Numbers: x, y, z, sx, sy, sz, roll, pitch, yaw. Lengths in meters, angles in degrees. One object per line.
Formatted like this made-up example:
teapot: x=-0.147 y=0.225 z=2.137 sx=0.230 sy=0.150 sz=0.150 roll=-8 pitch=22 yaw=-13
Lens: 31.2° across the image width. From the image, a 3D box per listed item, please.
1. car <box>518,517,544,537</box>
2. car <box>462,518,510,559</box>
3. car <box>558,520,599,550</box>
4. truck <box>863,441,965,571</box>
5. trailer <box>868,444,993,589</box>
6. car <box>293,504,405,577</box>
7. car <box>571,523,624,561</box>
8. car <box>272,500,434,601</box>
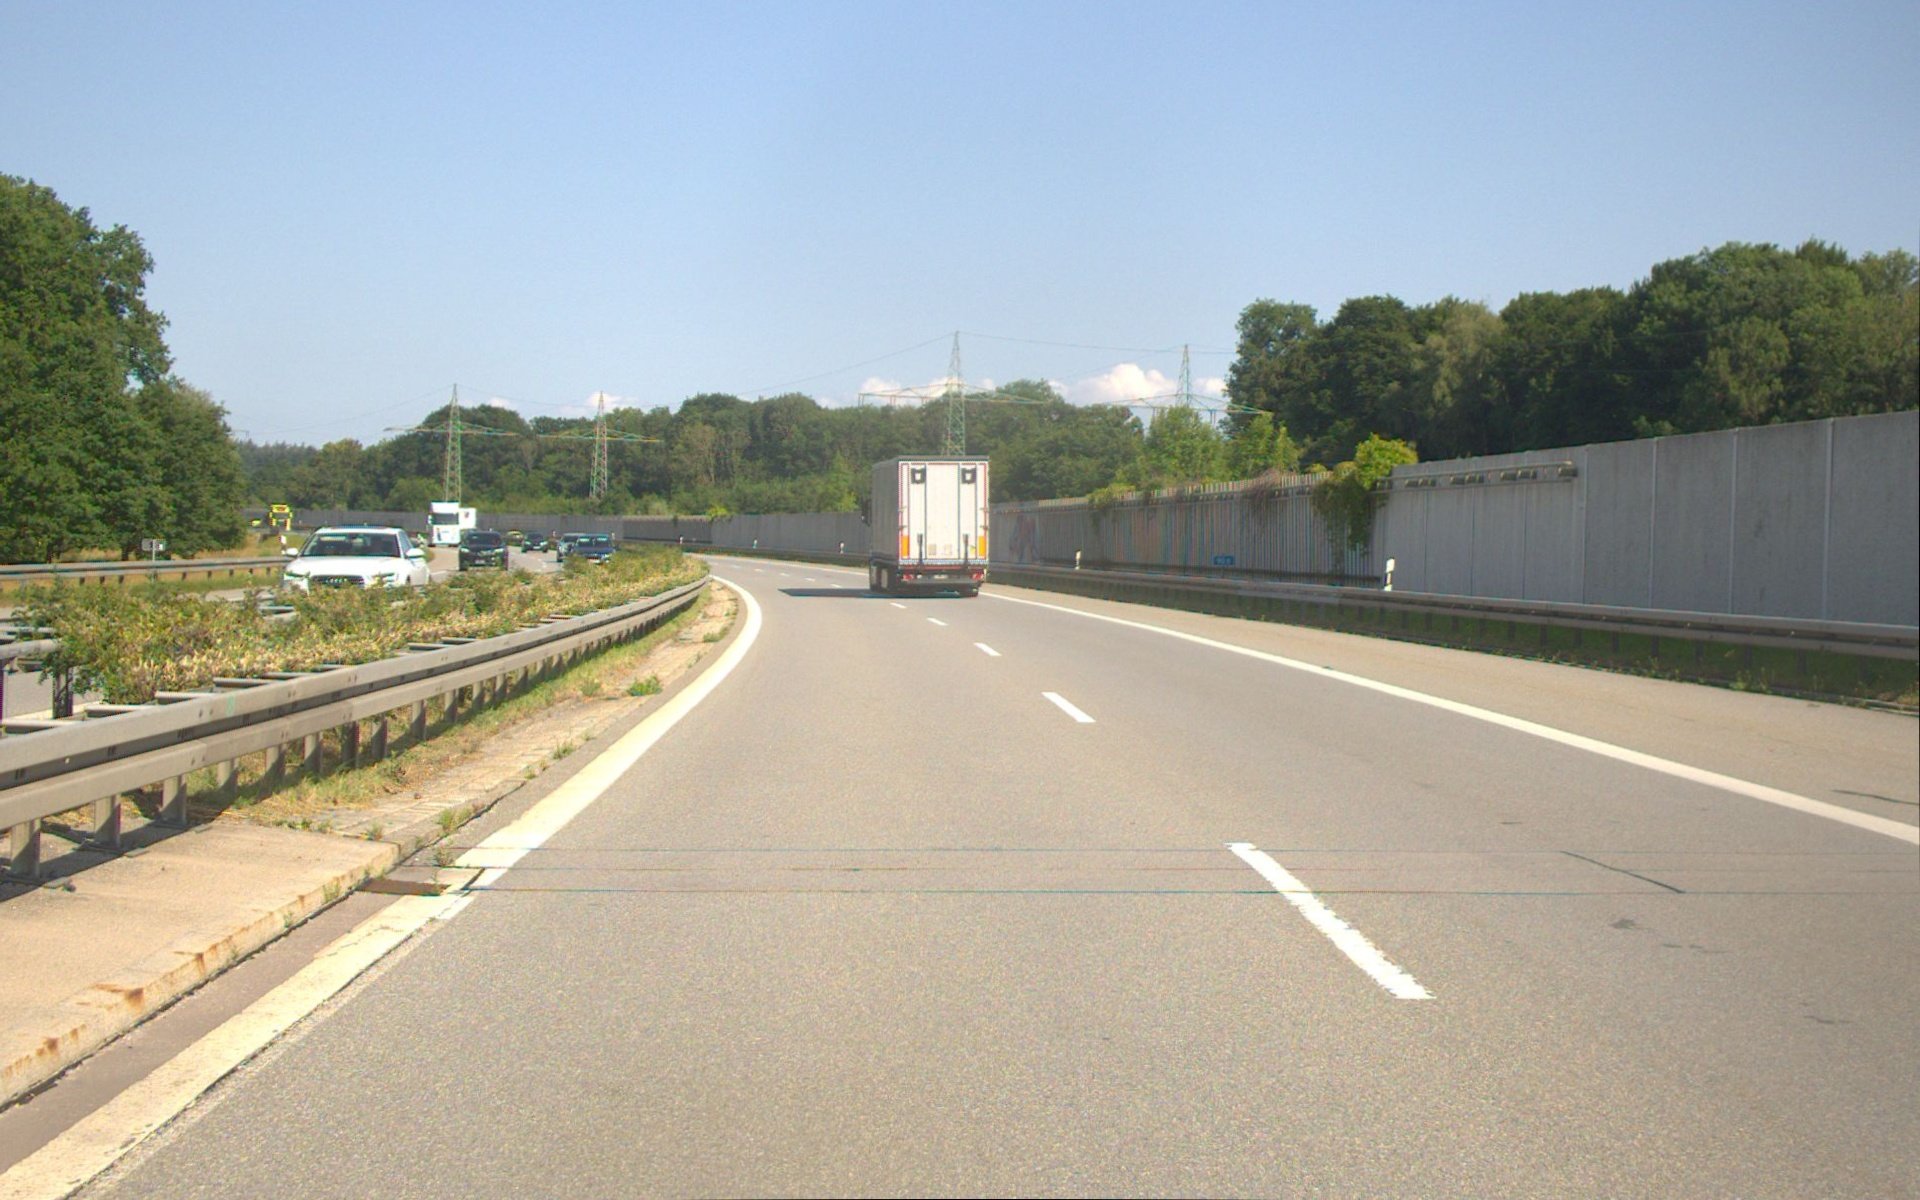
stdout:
car: x=-31.177 y=-5.298 z=249.854 sx=1.659 sy=1.445 sz=4.248 roll=-1 pitch=2 yaw=-10
car: x=-19.328 y=-2.510 z=140.282 sx=1.853 sy=1.628 sz=4.494 roll=0 pitch=1 yaw=-7
car: x=-19.702 y=-3.386 z=177.816 sx=1.931 sy=1.500 sz=4.794 roll=0 pitch=1 yaw=-4
truck: x=-1.505 y=-2.948 z=109.128 sx=2.830 sy=3.998 sz=6.588 roll=0 pitch=1 yaw=-4
trailer: x=-0.988 y=-2.455 z=102.448 sx=2.884 sy=4.052 sz=12.422 roll=0 pitch=1 yaw=-4
car: x=-12.927 y=-1.274 z=72.943 sx=1.773 sy=1.465 sz=4.507 roll=1 pitch=1 yaw=-3
car: x=-14.274 y=-2.293 z=135.478 sx=1.853 sy=1.477 sz=4.001 roll=0 pitch=1 yaw=-3
car: x=-9.124 y=-0.770 z=51.975 sx=1.821 sy=1.429 sz=4.651 roll=1 pitch=1 yaw=-3
